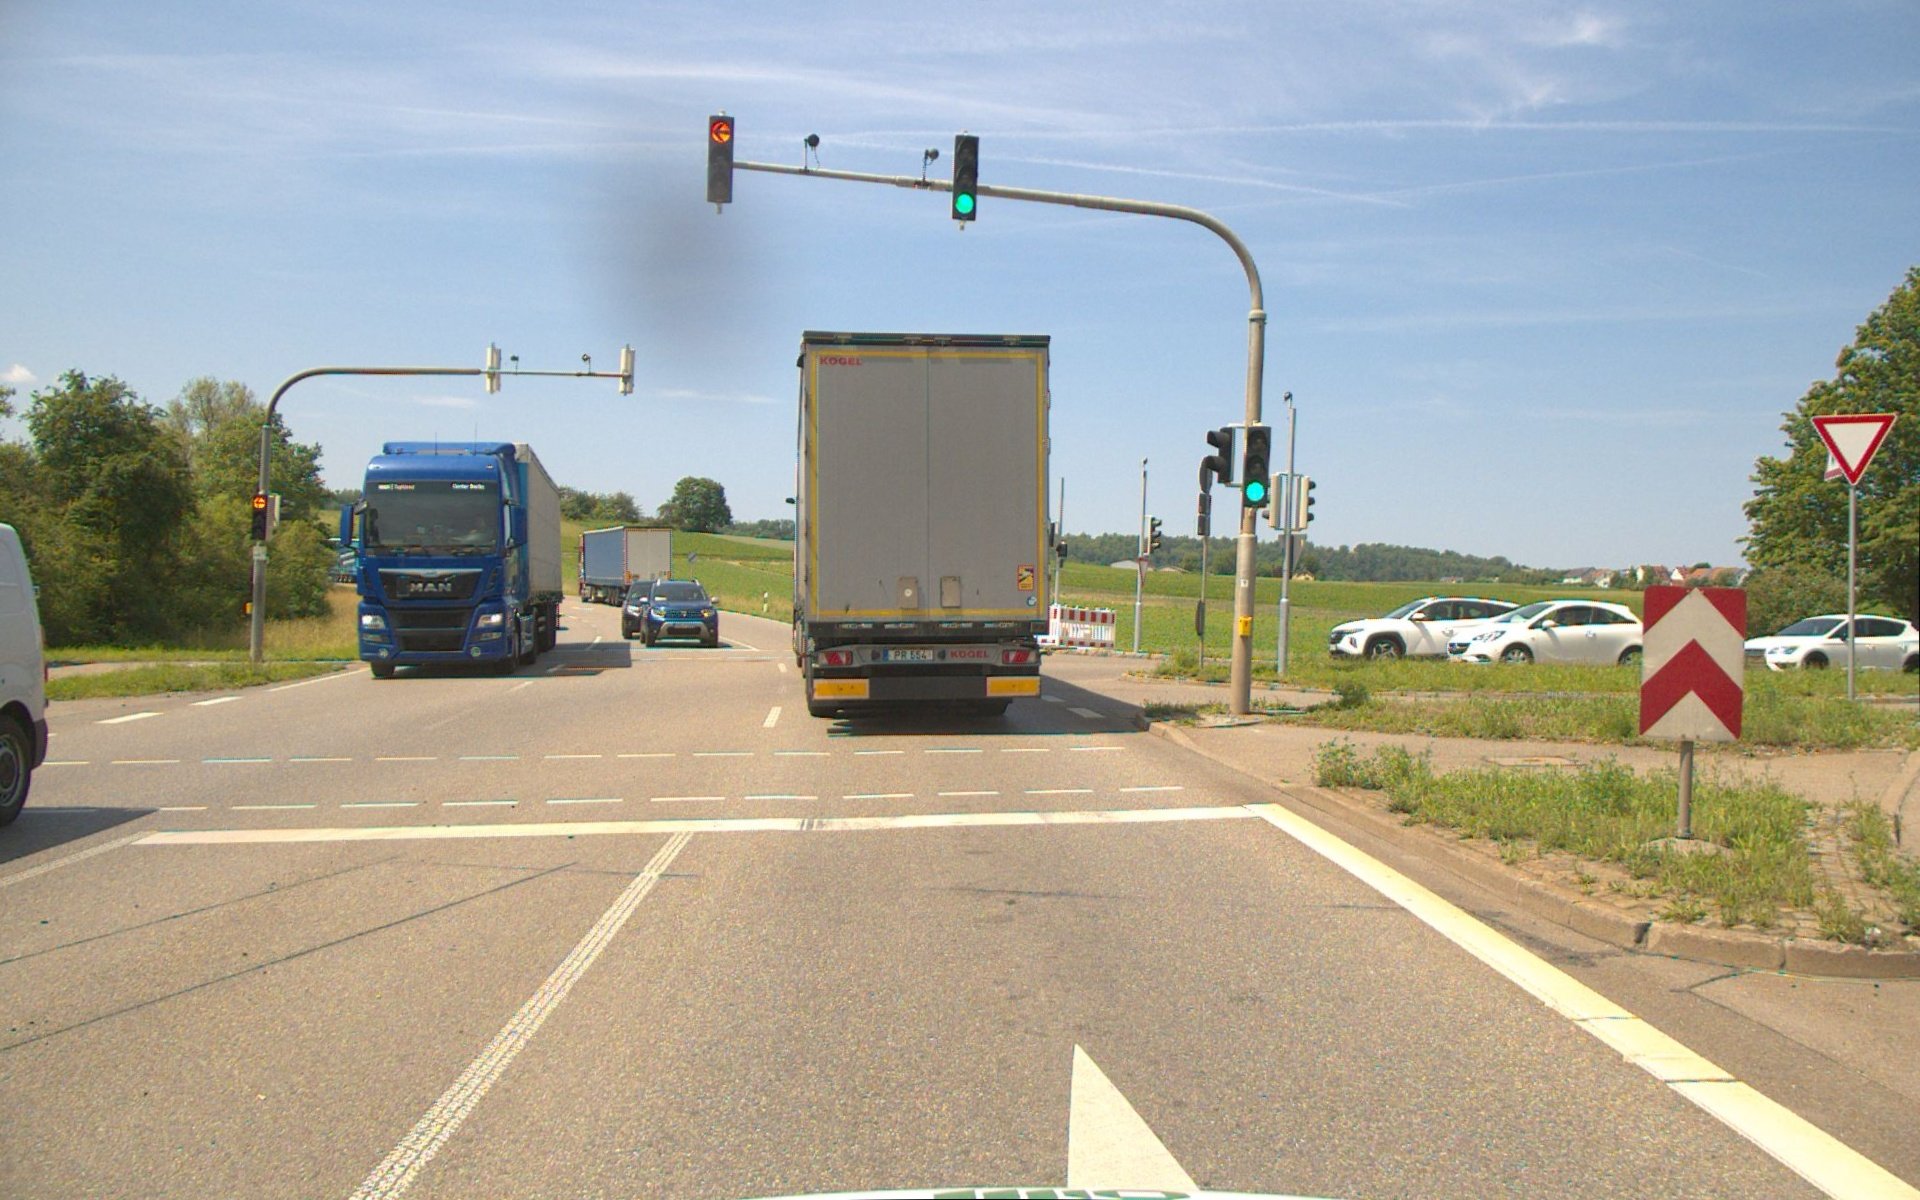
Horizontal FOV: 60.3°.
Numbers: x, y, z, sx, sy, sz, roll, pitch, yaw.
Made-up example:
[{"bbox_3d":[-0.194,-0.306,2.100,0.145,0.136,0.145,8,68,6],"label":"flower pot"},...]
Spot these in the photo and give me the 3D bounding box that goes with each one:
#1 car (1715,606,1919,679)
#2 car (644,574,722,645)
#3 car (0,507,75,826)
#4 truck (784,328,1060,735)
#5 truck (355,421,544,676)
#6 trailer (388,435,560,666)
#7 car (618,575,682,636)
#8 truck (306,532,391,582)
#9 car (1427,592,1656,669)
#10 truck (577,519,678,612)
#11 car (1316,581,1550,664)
[{"bbox_3d":[17.894,0.881,34.204,4.028,1.444,1.792,1,-1,-18],"label":"car"},{"bbox_3d":[-7.056,0.221,41.926,1.740,1.687,3.987,0,0,-13],"label":"car"},{"bbox_3d":[-6.546,0.407,8.401,1.834,1.919,4.946,0,0,-6],"label":"car"},{"bbox_3d":[-0.786,-0.719,21.231,2.753,4.015,9.580,0,0,-5],"label":"truck"},{"bbox_3d":[-9.090,-0.880,30.101,2.520,4.100,6.544,0,1,-10],"label":"truck"},{"bbox_3d":[-10.286,-0.975,36.235,2.521,4.100,13.554,0,1,-12],"label":"trailer"},{"bbox_3d":[-8.988,0.143,47.977,1.739,1.687,3.989,0,0,-11],"label":"car"},{"bbox_3d":[-58.220,-3.984,157.290,3.506,4.315,13.217,2,-1,-39],"label":"truck"},{"bbox_3d":[11.360,0.600,32.412,3.889,1.444,1.823,1,-1,-12],"label":"car"},{"bbox_3d":[-18.479,-1.853,90.917,2.918,4.664,16.217,0,1,-20],"label":"truck"},{"bbox_3d":[10.359,0.501,36.441,4.535,1.635,1.996,2,-2,-4],"label":"car"}]
